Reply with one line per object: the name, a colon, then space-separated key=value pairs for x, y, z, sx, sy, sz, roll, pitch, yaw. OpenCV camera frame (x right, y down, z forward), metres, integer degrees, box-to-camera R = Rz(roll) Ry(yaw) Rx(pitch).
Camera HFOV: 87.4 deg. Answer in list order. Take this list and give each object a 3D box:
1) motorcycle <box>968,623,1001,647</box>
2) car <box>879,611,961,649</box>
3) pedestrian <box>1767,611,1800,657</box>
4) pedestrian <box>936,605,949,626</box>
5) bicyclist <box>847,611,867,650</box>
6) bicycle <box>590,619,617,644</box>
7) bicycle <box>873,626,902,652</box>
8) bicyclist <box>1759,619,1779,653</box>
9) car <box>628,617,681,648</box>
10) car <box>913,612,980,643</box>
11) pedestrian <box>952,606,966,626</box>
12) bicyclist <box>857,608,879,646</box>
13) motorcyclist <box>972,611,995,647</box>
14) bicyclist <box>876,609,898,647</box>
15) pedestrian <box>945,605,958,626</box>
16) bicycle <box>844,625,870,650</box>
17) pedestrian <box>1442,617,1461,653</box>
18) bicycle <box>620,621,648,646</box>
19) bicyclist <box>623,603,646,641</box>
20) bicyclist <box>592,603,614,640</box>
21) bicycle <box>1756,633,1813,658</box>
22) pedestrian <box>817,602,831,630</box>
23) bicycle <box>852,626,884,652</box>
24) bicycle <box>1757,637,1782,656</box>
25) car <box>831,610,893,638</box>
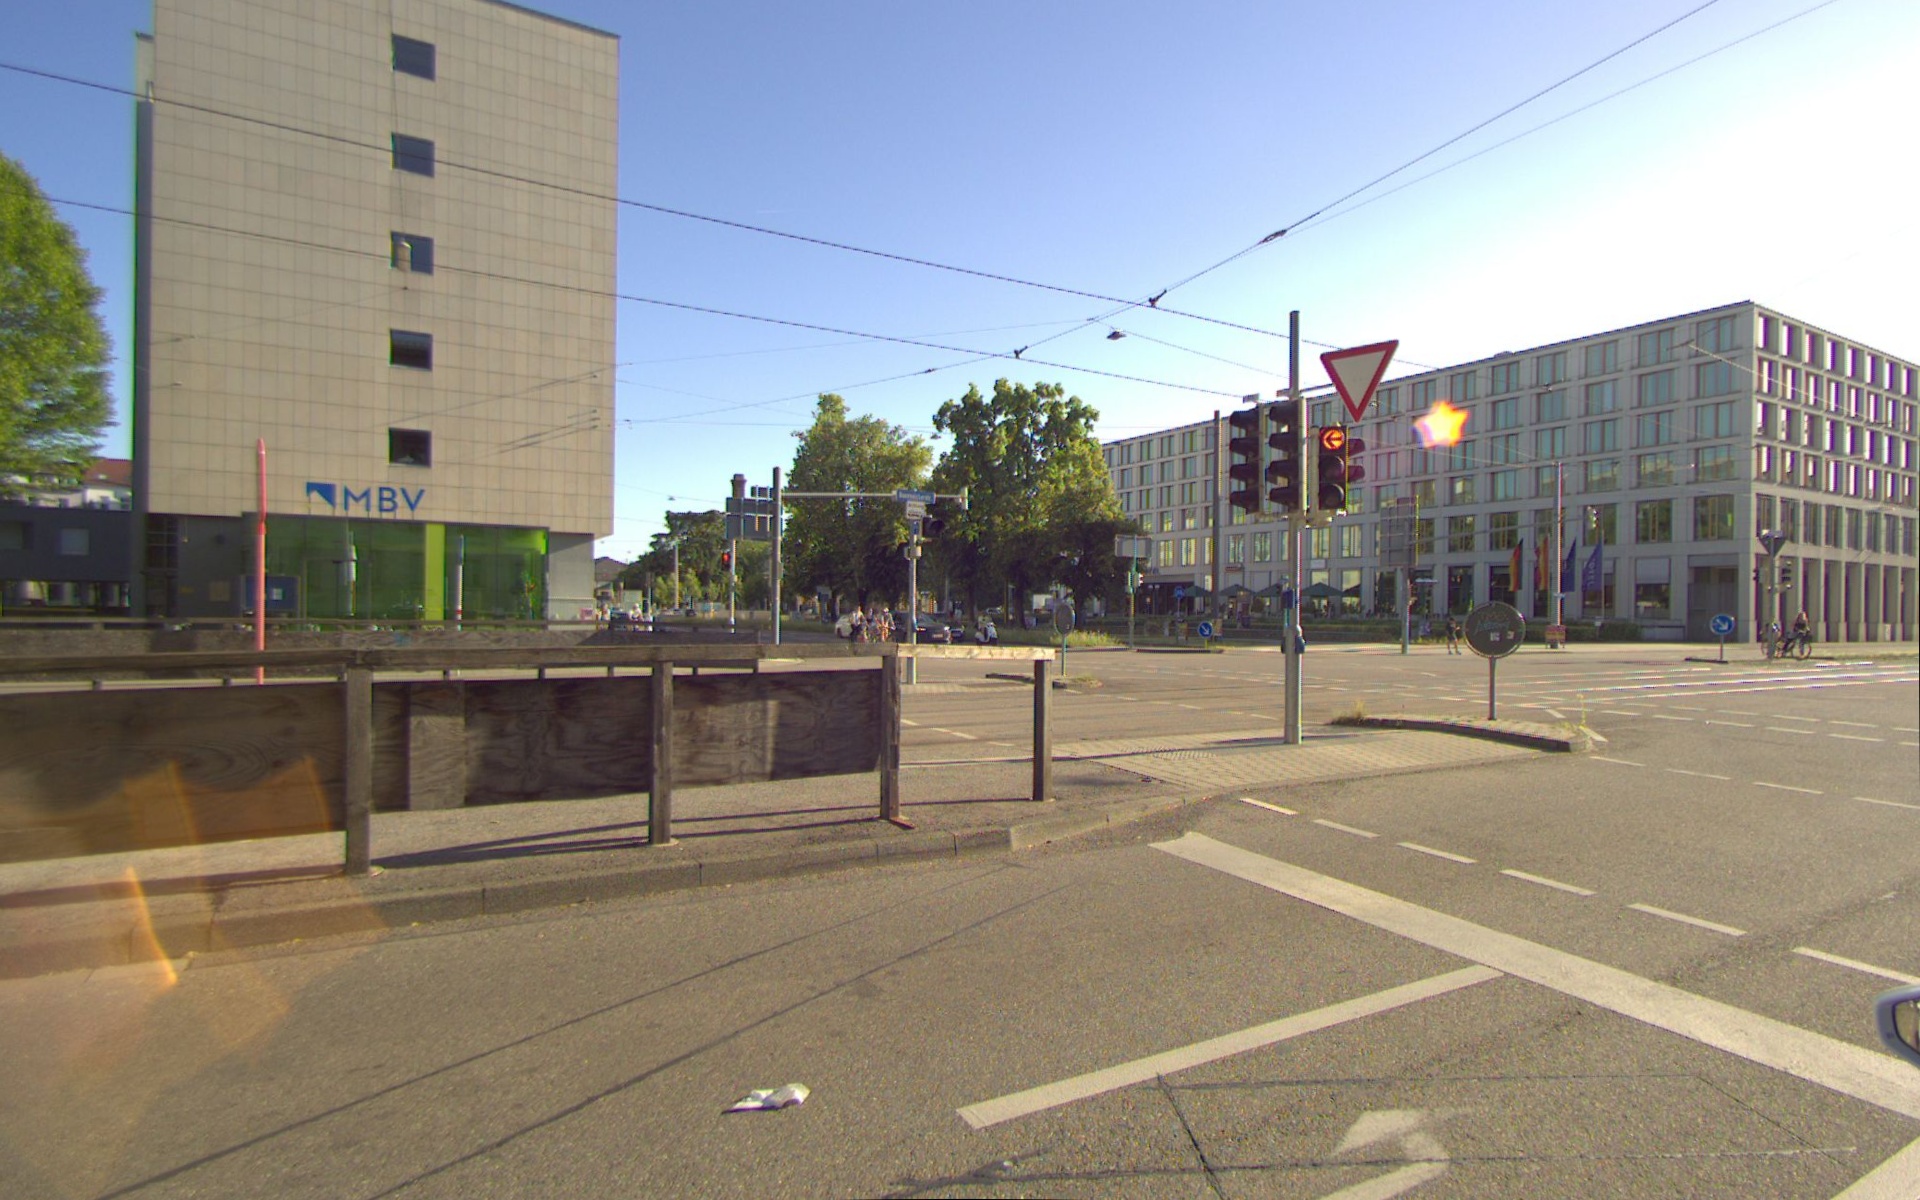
motorcycle: x=1.113 y=1.578 z=45.916 sx=0.624 sy=1.030 sz=1.972 roll=-3 pitch=1 yaw=-28
car: x=-1.790 y=1.272 z=43.665 sx=1.925 sy=1.561 sz=3.969 roll=2 pitch=-1 yaw=-29
pedestrian: x=29.278 y=1.200 z=35.706 sx=0.562 sy=1.616 sz=0.744 roll=1 pitch=-1 yaw=-3
pedestrian: x=-1.543 y=1.329 z=87.278 sx=0.858 sy=1.738 sz=0.737 roll=2 pitch=0 yaw=-26
bicyclist: x=-4.451 y=1.313 z=43.271 sx=0.576 sy=1.658 sz=0.890 roll=1 pitch=-1 yaw=-27
bicycle: x=-15.561 y=1.373 z=43.787 sx=0.802 sy=1.047 sz=2.111 roll=1 pitch=-1 yaw=-28
bicycle: x=-3.001 y=1.578 z=41.339 sx=0.576 sy=1.032 sz=1.666 roll=1 pitch=-1 yaw=-27
bicyclist: x=36.531 y=1.624 z=45.336 sx=0.658 sy=1.518 sz=0.492 roll=1 pitch=-1 yaw=-28
car: x=-16.685 y=1.759 z=54.674 sx=1.975 sy=1.472 sz=4.179 roll=2 pitch=0 yaw=-28
car: x=-0.719 y=1.359 z=51.165 sx=1.674 sy=1.506 sz=3.719 roll=1 pitch=-1 yaw=-33
pedestrian: x=-0.092 y=1.374 z=86.897 sx=0.858 sy=1.738 sz=0.737 roll=2 pitch=0 yaw=-26
bicyclist: x=-3.766 y=1.105 z=40.972 sx=0.577 sy=1.563 sz=0.833 roll=1 pitch=-1 yaw=-32
motorcyclist: x=1.073 y=1.337 z=45.945 sx=0.624 sy=1.601 sz=0.812 roll=-3 pitch=1 yaw=-28
bicyclist: x=-3.007 y=1.150 z=41.373 sx=0.576 sy=1.563 sz=0.890 roll=1 pitch=-1 yaw=-27
pedestrian: x=-0.722 y=1.356 z=88.305 sx=0.858 sy=1.738 sz=0.737 roll=2 pitch=0 yaw=-26
bicycle: x=-4.447 y=1.612 z=43.260 sx=0.576 sy=1.032 sz=1.666 roll=1 pitch=-1 yaw=-27
pedestrian: x=23.272 y=1.643 z=47.571 sx=0.594 sy=1.703 sz=0.606 roll=1 pitch=-1 yaw=1
bicycle: x=-14.126 y=1.427 z=43.472 sx=0.802 sy=1.047 sz=2.111 roll=1 pitch=-1 yaw=-28
bicyclist: x=-14.094 y=0.955 z=43.477 sx=0.802 sy=1.623 sz=0.677 roll=1 pitch=-1 yaw=-29
bicyclist: x=-15.544 y=0.939 z=43.773 sx=0.802 sy=1.623 sz=0.677 roll=1 pitch=-1 yaw=-29
bicycle: x=29.271 y=1.595 z=35.687 sx=0.562 sy=0.834 sz=1.718 roll=1 pitch=-1 yaw=-2
pedestrian: x=-9.901 y=1.160 z=73.090 sx=0.772 sy=2.040 sz=0.747 roll=1 pitch=-1 yaw=-31
bicycle: x=-3.772 y=1.583 z=40.977 sx=0.577 sy=1.032 sz=1.806 roll=1 pitch=-2 yaw=-31
bicycle: x=36.545 y=2.081 z=45.333 sx=1.142 sy=0.850 sz=0.492 roll=1 pitch=-1 yaw=-28
car: x=-5.751 y=1.392 z=58.743 sx=1.980 sy=1.537 sz=3.962 roll=1 pitch=-1 yaw=-34
